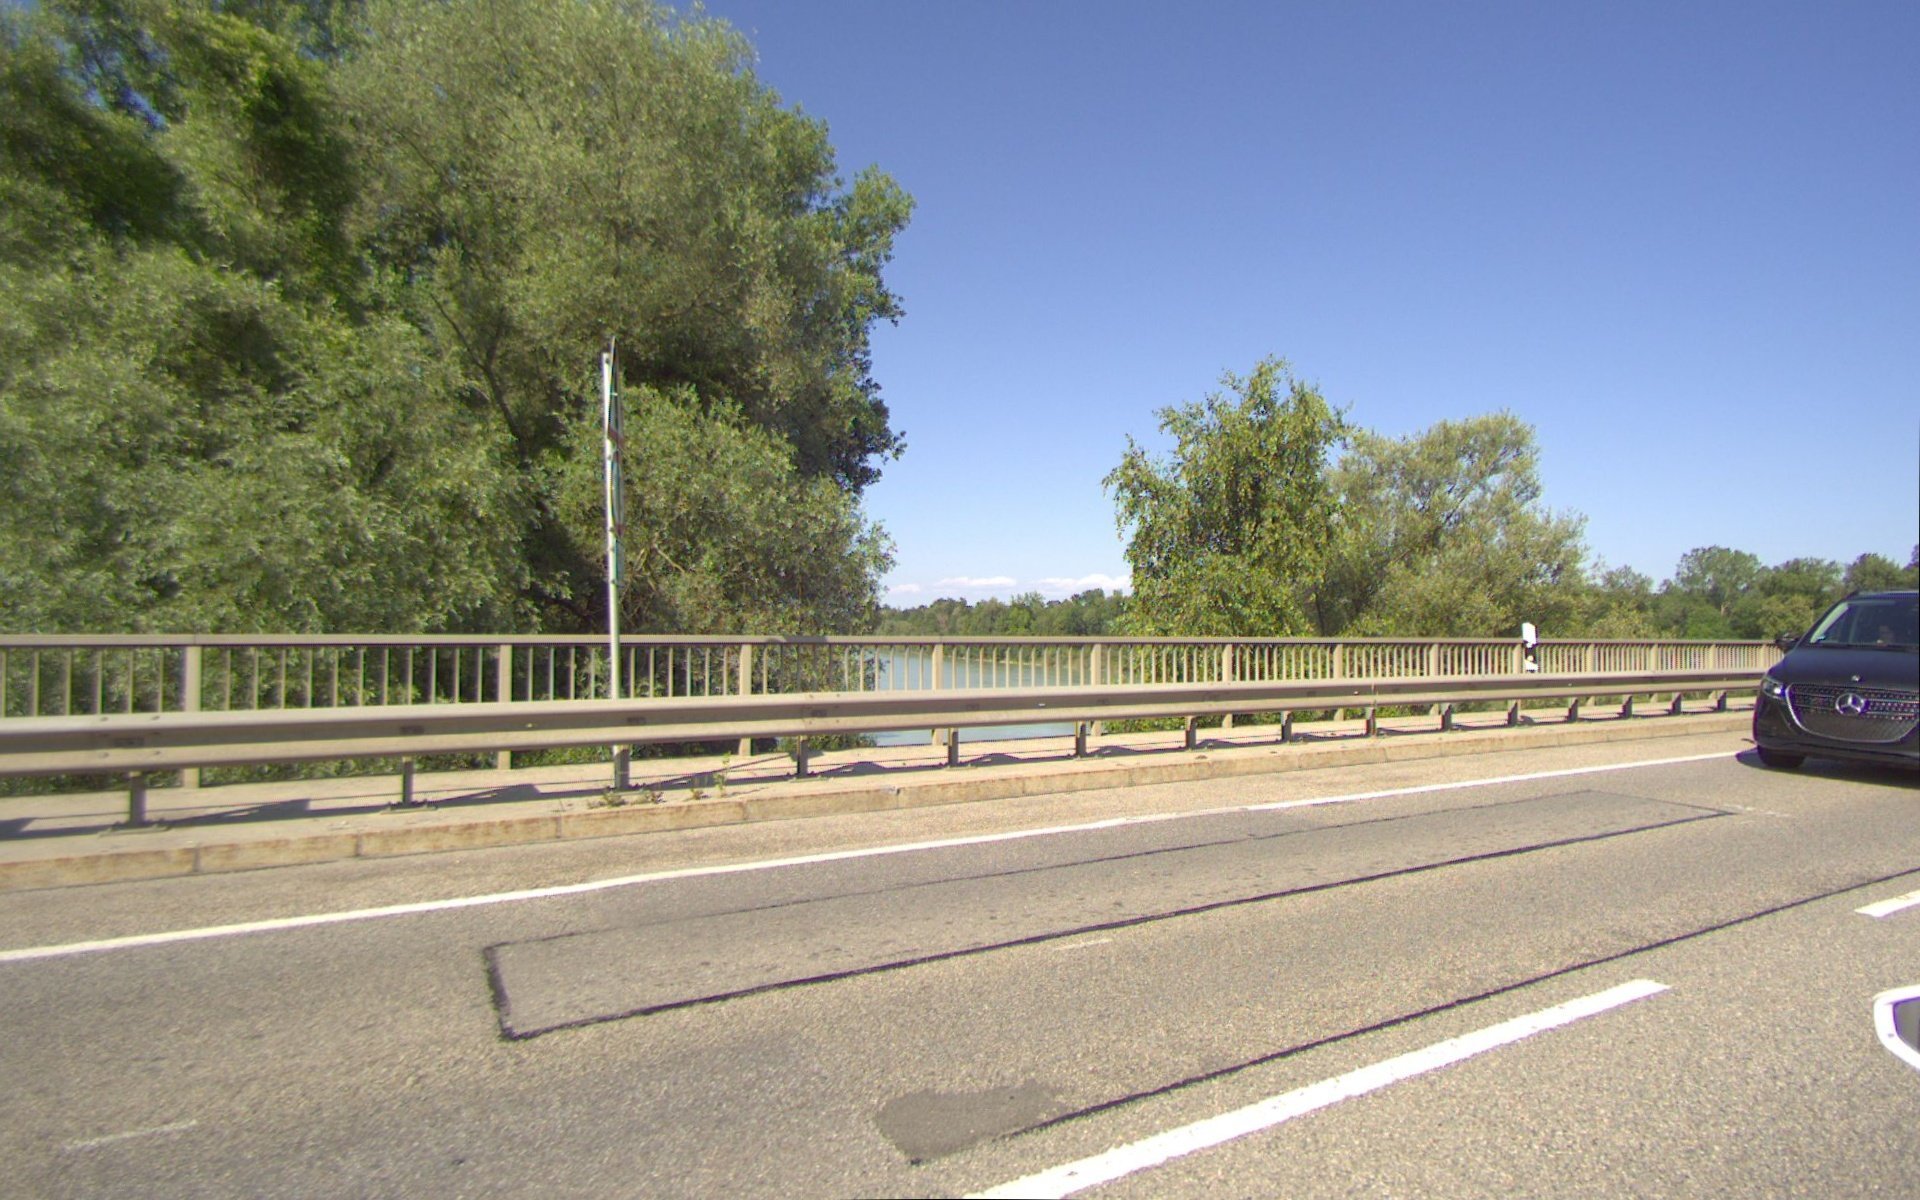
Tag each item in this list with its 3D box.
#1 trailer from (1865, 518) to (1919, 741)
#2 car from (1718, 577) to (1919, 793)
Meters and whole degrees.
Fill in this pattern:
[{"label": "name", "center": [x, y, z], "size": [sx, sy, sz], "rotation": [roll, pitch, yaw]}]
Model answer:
[{"label": "trailer", "center": [15.785, 0.448, 13.852], "size": [7.966, 2.774, 2.543], "rotation": [1, 0, -30]}, {"label": "car", "center": [10.265, 0.806, 10.471], "size": [4.948, 1.878, 1.974], "rotation": [2, -1, -29]}]
